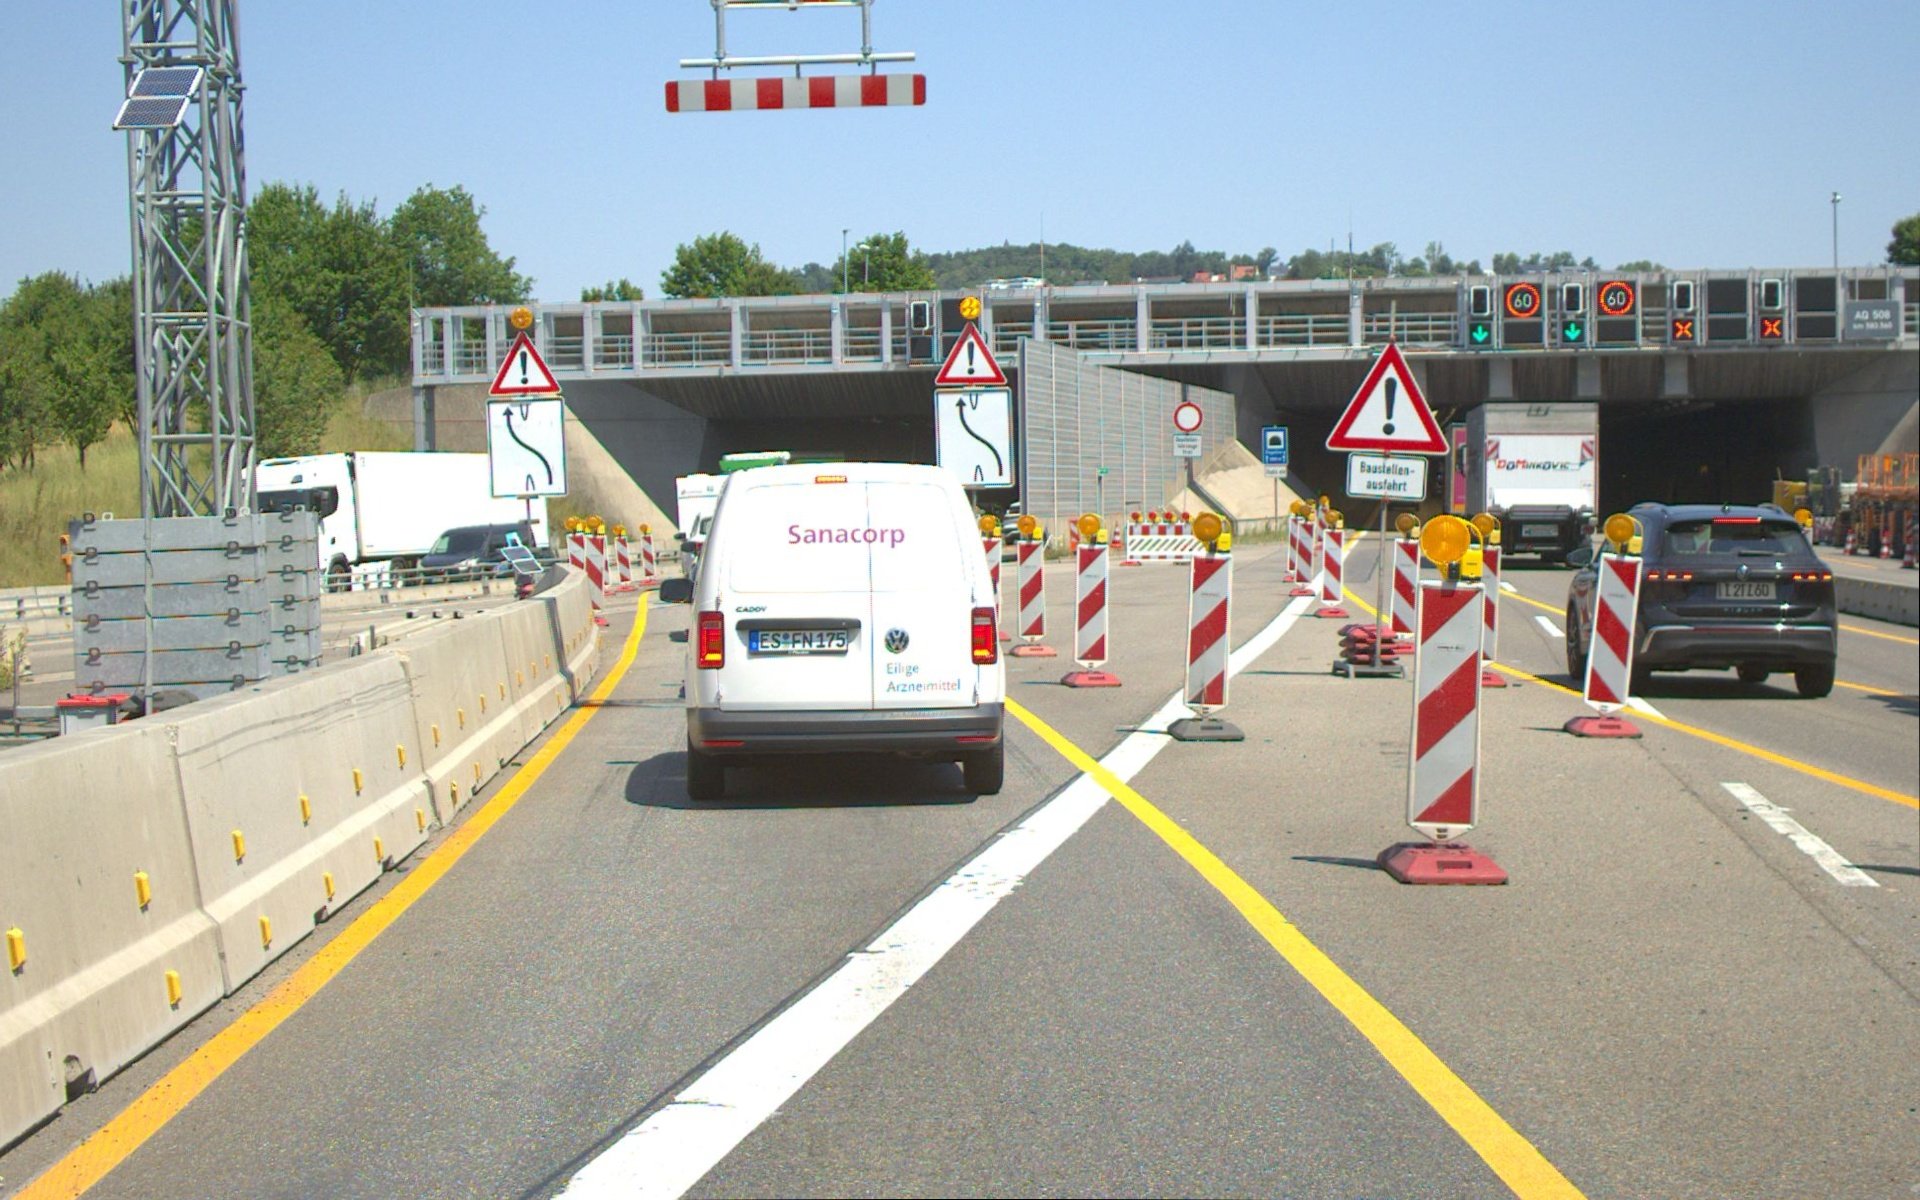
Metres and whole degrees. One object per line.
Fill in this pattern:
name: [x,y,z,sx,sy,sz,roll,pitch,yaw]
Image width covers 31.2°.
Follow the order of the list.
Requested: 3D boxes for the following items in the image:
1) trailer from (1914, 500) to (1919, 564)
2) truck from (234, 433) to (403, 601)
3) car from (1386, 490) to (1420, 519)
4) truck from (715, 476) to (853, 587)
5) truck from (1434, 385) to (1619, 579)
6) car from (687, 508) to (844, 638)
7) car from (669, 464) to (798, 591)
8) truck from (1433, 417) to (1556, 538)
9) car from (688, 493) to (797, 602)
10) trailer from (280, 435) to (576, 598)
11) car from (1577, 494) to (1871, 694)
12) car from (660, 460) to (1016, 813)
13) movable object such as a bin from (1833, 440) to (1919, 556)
trailer: [24.654,-1.615,81.214,2.595,1.563,6.236,-2,2,2]
truck: [-17.586,-2.306,94.505,2.666,4.484,4.839,1,2,16]
car: [25.878,-5.586,200.826,1.815,1.624,4.189,1,1,6]
truck: [-6.835,-2.682,134.403,3.549,4.255,5.774,0,1,18]
truck: [13.911,-2.745,85.850,3.402,4.320,16.533,1,1,6]
car: [-2.543,-0.375,44.164,1.808,1.532,4.411,-2,1,-5]
car: [-5.142,-1.633,78.980,2.813,2.764,7.102,0,1,-3]
truck: [19.199,-4.325,124.401,3.402,4.057,16.534,1,1,6]
car: [-3.867,-0.938,60.855,1.808,1.809,4.410,-2,1,-4]
trailer: [-15.481,-2.496,101.908,2.666,4.484,14.919,1,2,16]
car: [6.660,-0.092,30.389,1.815,1.624,4.190,1,1,3]
car: [-0.746,0.148,19.817,1.808,1.788,3.732,-2,1,-3]
movable object such as a bin: [27.090,-2.862,95.632,3.112,3.000,14.699,-2,1,5]
